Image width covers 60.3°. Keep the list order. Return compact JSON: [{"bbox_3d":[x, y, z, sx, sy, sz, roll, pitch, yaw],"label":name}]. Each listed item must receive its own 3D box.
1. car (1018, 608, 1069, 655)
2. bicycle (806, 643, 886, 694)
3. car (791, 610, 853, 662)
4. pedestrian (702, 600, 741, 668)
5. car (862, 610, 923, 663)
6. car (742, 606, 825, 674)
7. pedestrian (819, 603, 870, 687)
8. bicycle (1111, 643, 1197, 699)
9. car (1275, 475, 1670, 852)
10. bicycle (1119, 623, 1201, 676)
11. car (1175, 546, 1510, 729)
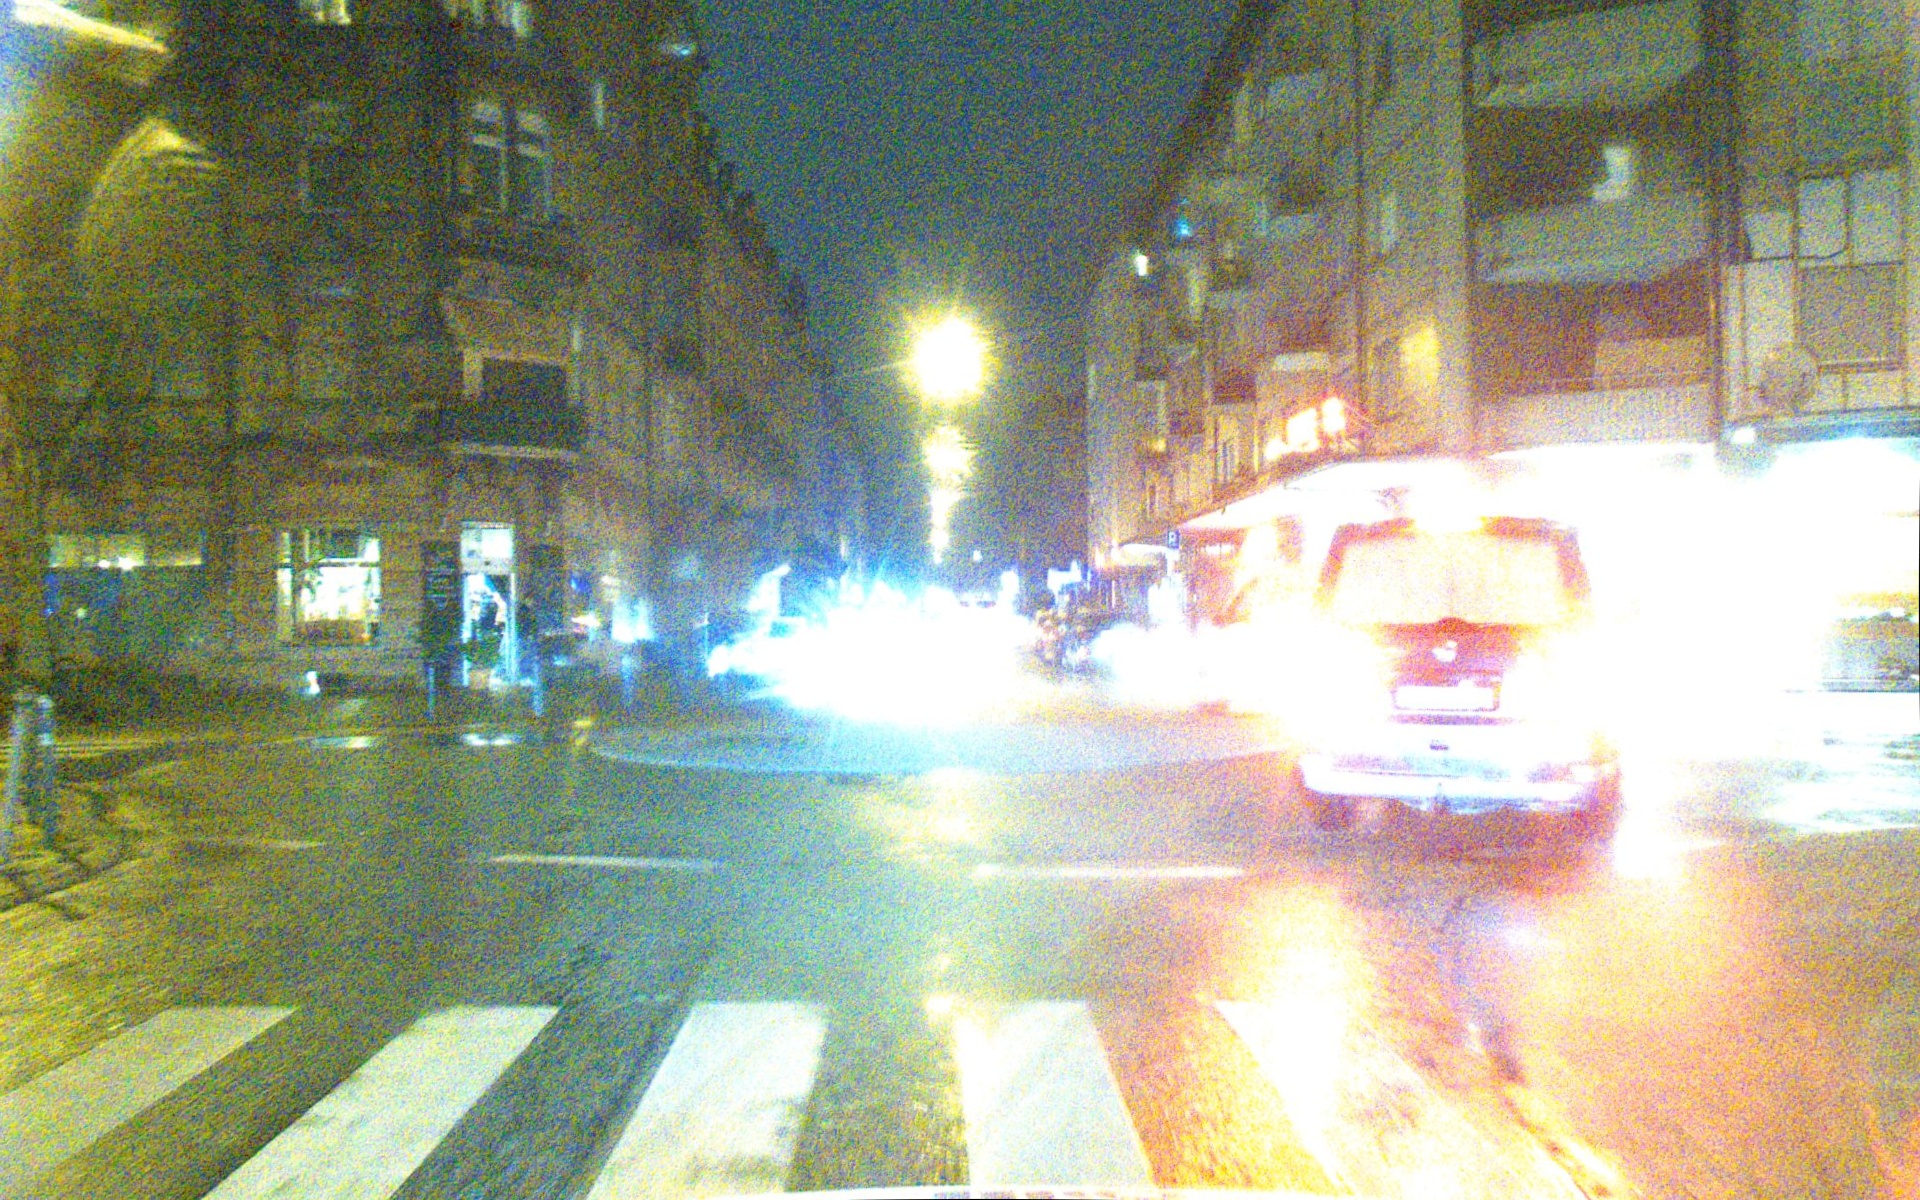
[{"bbox_3d":[2.870,1.110,57.398,1.559,1.570,3.419,0,-1,0],"label":"car"},{"bbox_3d":[-2.556,1.528,37.232,1.759,1.078,0.714,-1,0,-2],"label":"bicycle"},{"bbox_3d":[-4.064,1.035,49.100,1.554,1.474,3.502,0,0,0],"label":"car"},{"bbox_3d":[-6.395,0.901,44.400,0.787,1.797,1.016,1,-1,5],"label":"pedestrian"},{"bbox_3d":[-1.951,1.038,48.612,1.531,1.452,4.069,-2,0,0],"label":"car"},{"bbox_3d":[-4.208,0.929,39.918,1.554,1.489,4.023,2,0,0],"label":"car"},{"bbox_3d":[-2.594,1.004,37.227,1.099,1.843,0.714,-1,0,-2],"label":"pedestrian"},{"bbox_3d":[4.127,1.511,35.254,1.747,1.144,0.435,-1,0,-3],"label":"bicycle"},{"bbox_3d":[3.430,0.359,11.386,2.077,2.026,4.604,0,-1,16],"label":"car"},{"bbox_3d":[4.363,1.081,36.100,1.727,1.098,0.435,-1,0,-3],"label":"bicycle"},{"bbox_3d":[4.503,0.413,20.376,2.087,1.956,4.808,0,0,-14],"label":"car"}]
